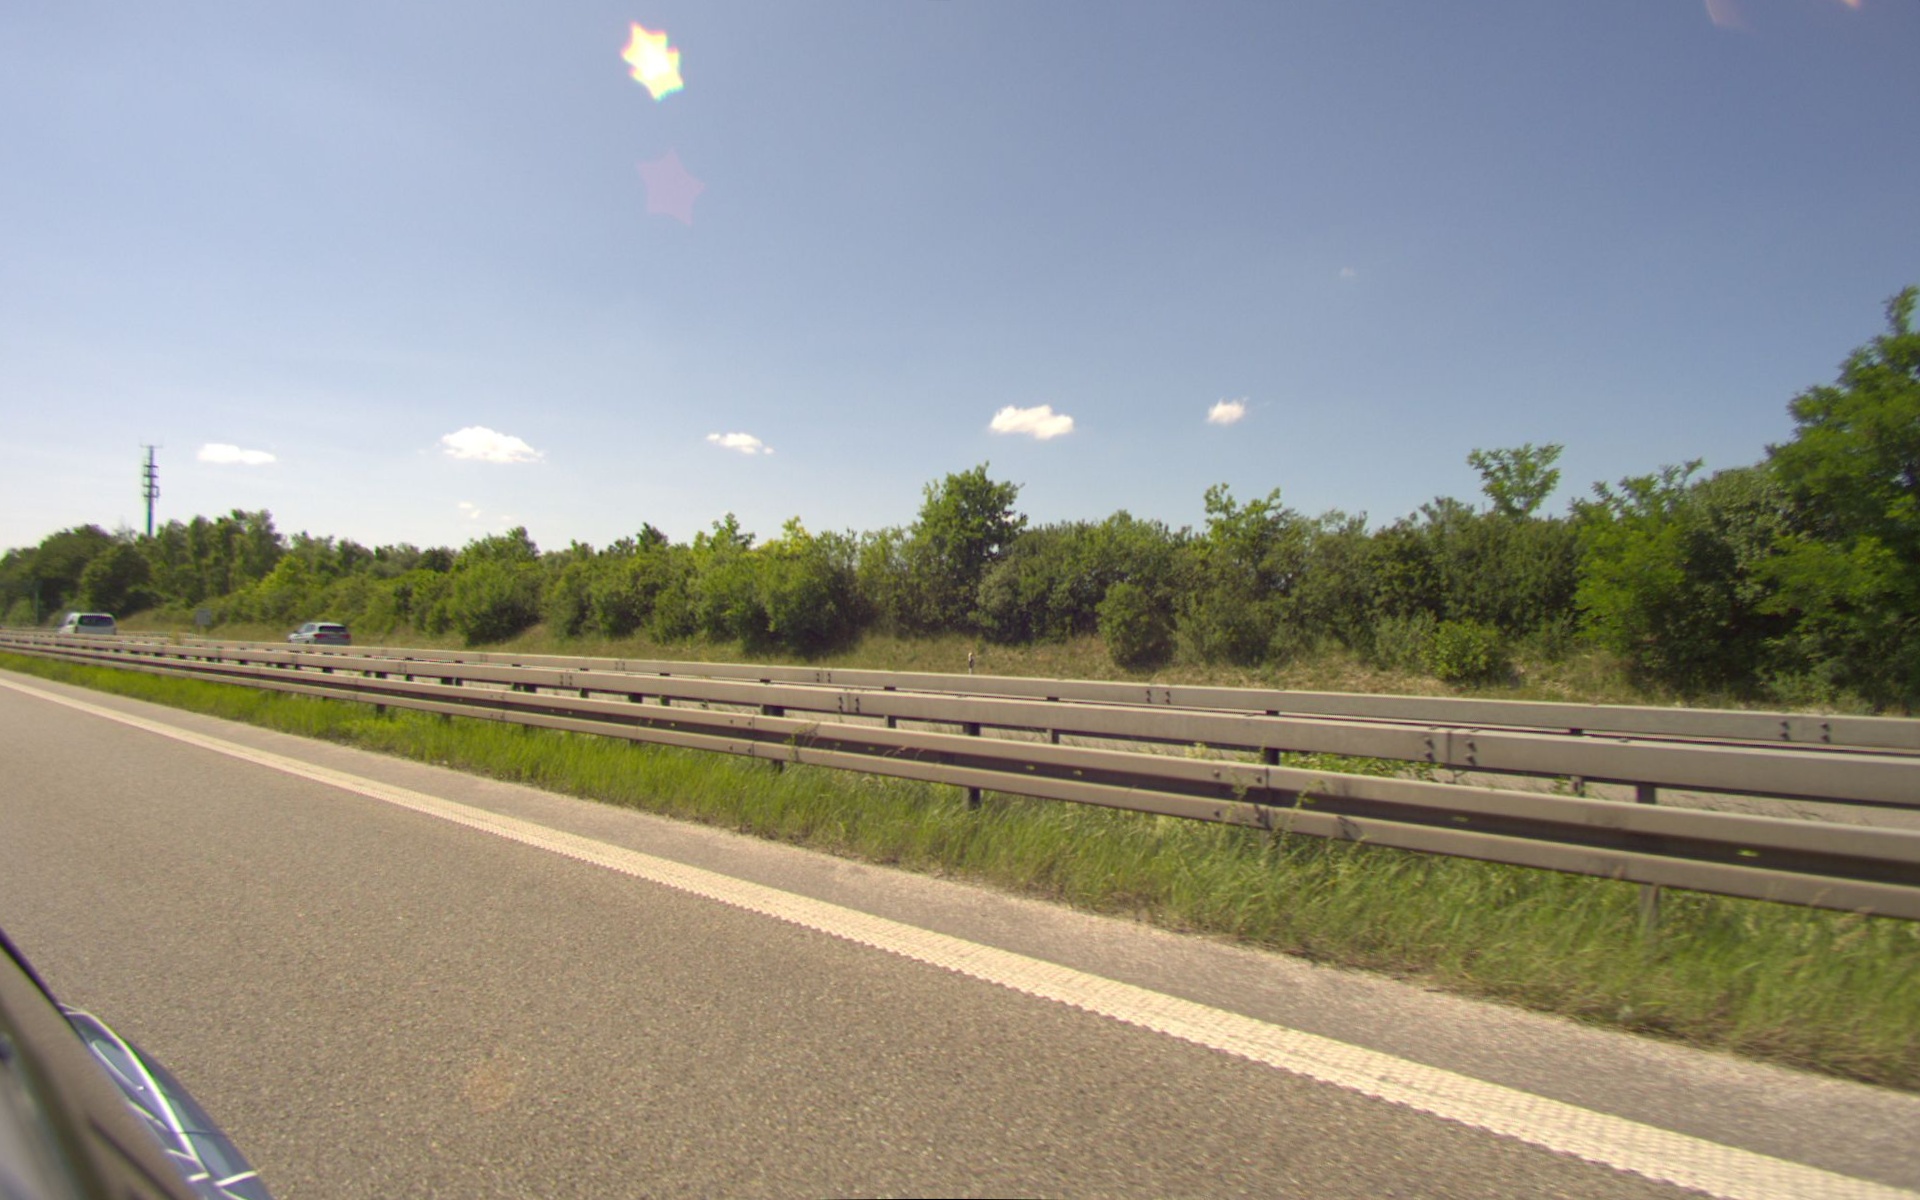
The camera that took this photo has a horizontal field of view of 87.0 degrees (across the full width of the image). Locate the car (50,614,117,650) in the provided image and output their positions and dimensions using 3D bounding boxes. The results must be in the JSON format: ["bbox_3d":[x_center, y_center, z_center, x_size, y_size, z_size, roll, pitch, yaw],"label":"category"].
[{"bbox_3d":[-48.575,1.752,56.072,5.513,1.887,1.901,-1,-3,40],"label":"car"}]

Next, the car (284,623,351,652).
[{"bbox_3d":[-33.533,1.926,52.735,4.519,1.450,1.769,-1,-1,42],"label":"car"}]
